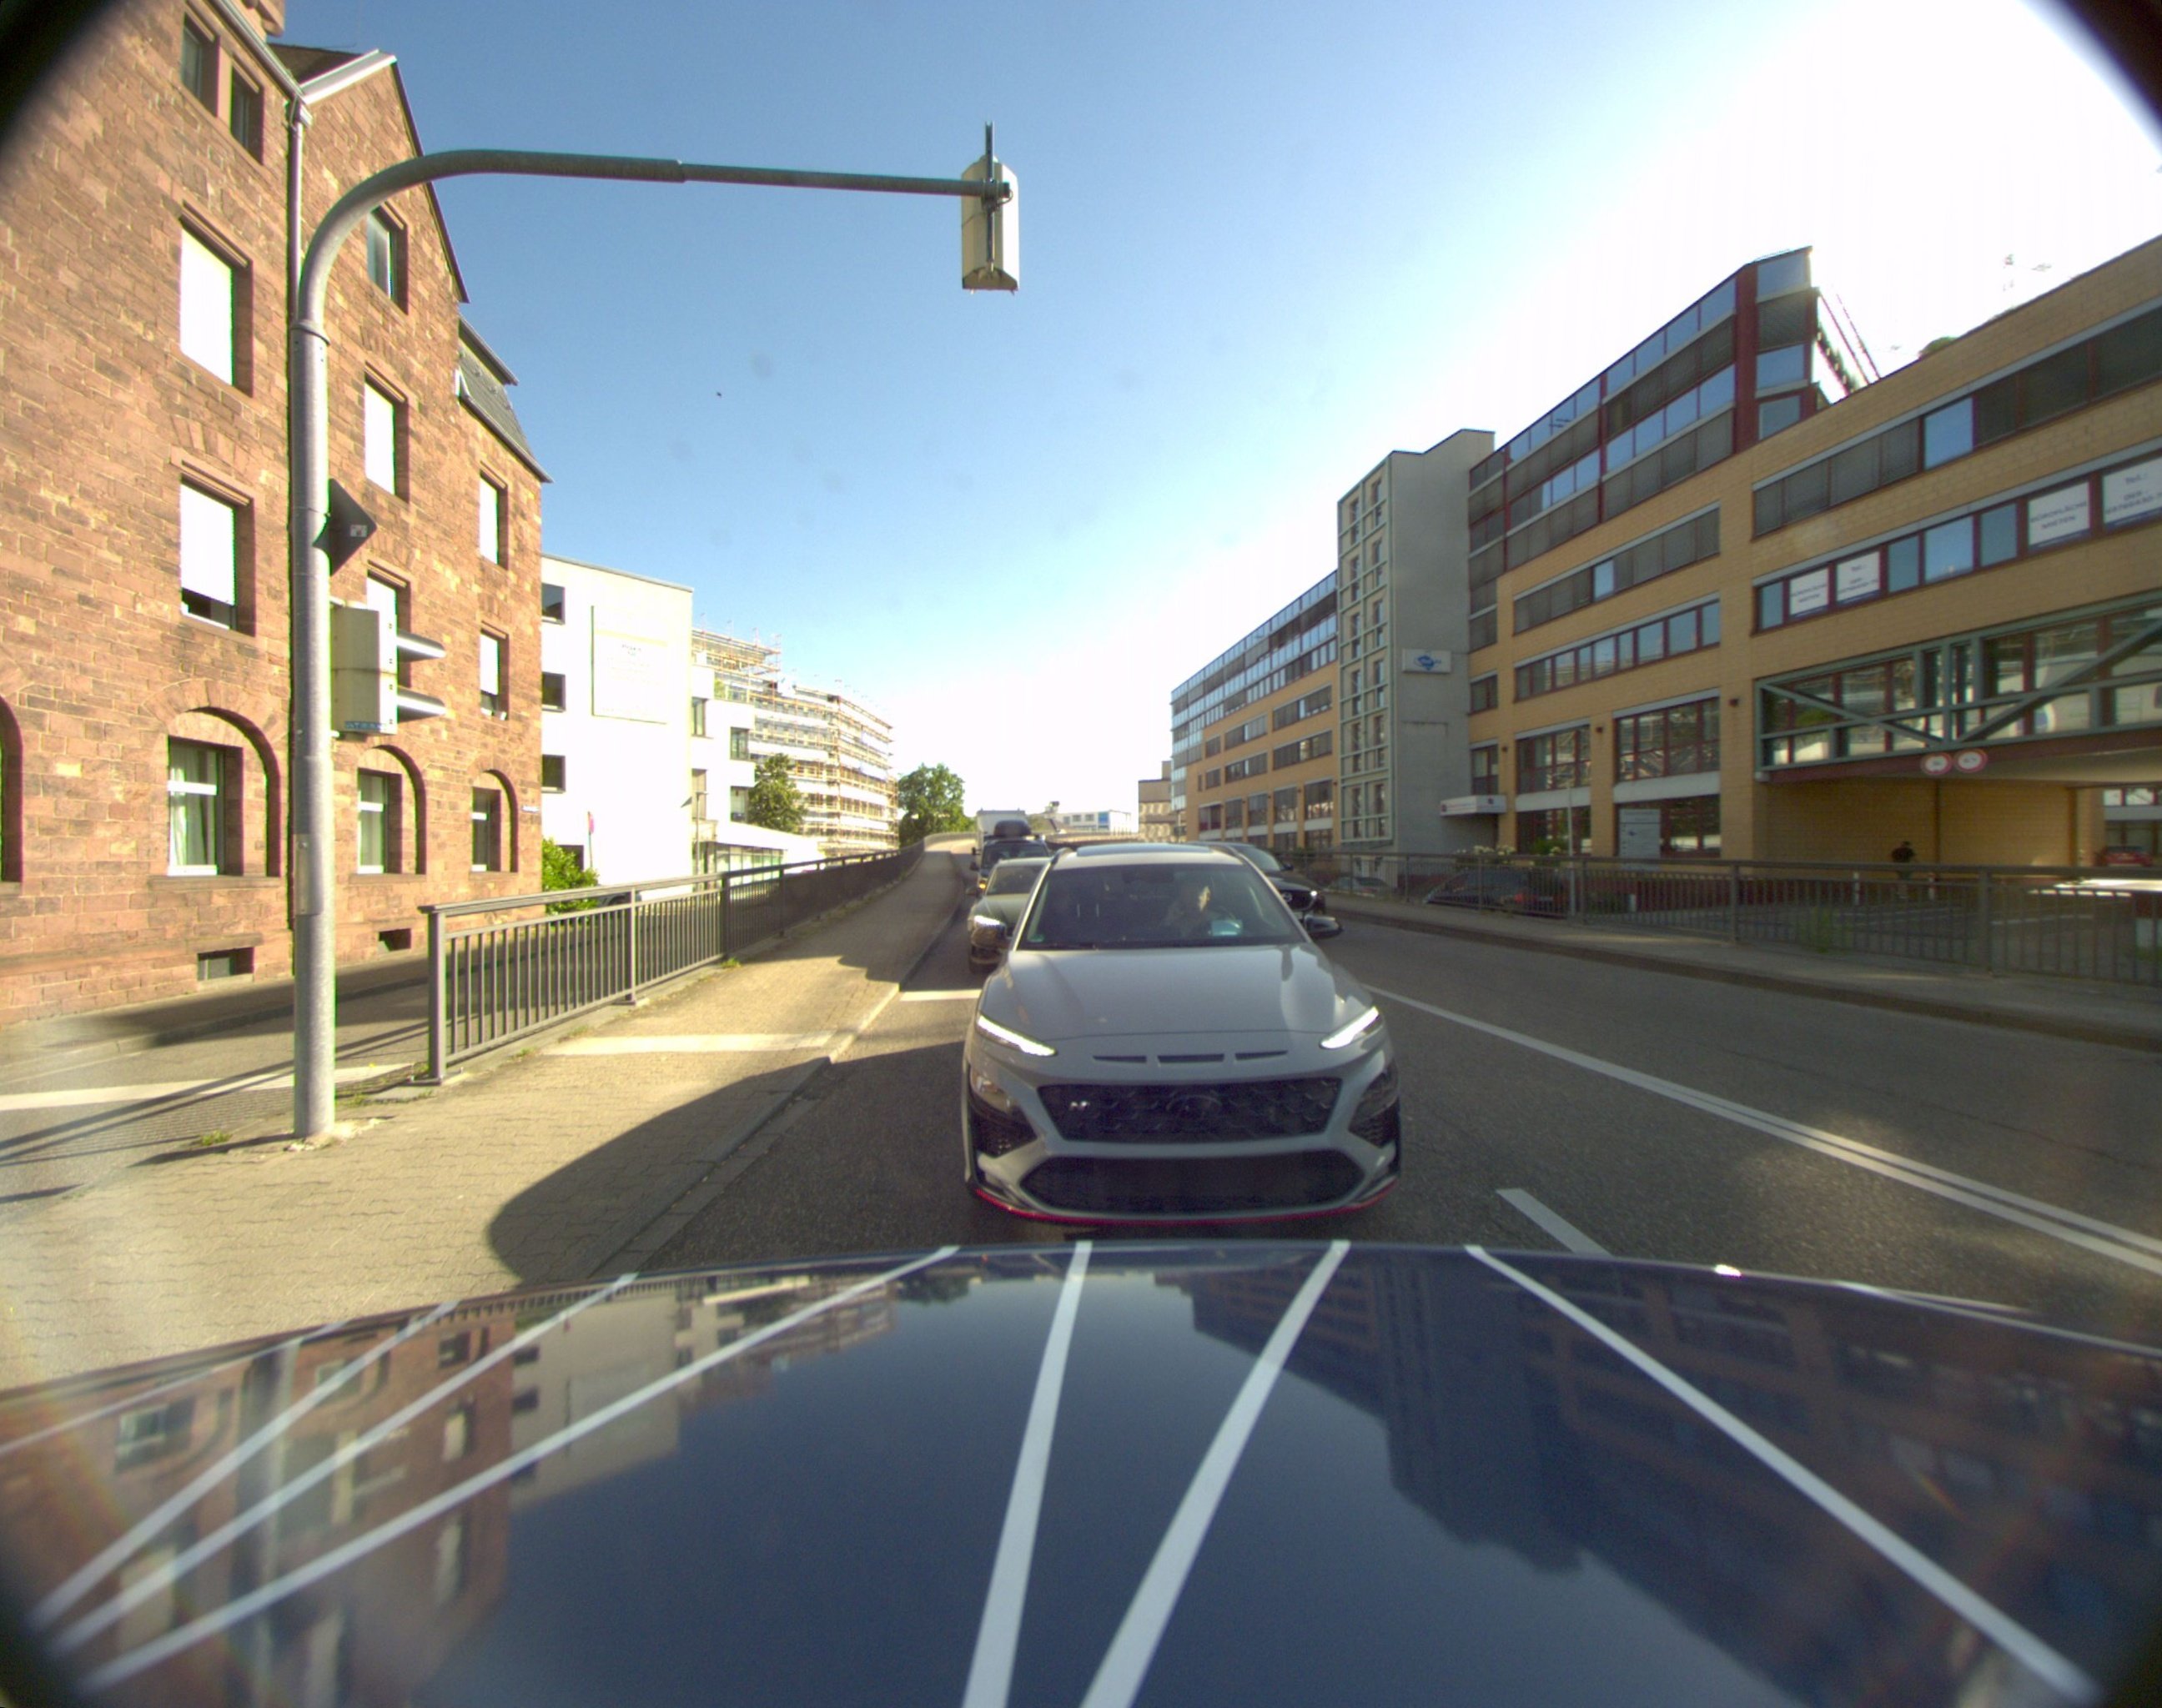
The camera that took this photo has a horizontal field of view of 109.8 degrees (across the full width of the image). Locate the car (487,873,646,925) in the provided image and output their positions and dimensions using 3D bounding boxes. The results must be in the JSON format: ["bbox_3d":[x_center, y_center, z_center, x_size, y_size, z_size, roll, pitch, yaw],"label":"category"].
[{"bbox_3d":[-17.068,1.438,25.323,4.101,1.522,1.914,0,-1,-44],"label":"car"}]

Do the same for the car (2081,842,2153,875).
[{"bbox_3d":[54.006,0.222,39.685,4.007,1.512,1.763,-3,1,-43],"label":"car"}]

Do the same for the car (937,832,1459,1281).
[{"bbox_3d":[0.492,0.744,4.854,1.878,1.612,4.197,0,0,2],"label":"car"}]

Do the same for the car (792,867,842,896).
[{"bbox_3d":[-14.588,1.488,42.230,2.054,1.522,4.089,-1,-1,-11],"label":"car"}]

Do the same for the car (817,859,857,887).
[{"bbox_3d":[-15.819,1.219,49.455,2.054,1.676,4.089,-1,-1,-11],"label":"car"}]

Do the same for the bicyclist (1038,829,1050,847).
[{"bbox_3d":[-3.936,-1.656,80.782,1.083,1.861,1.083,-2,1,-9],"label":"bicyclist"}]

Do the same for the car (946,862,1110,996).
[{"bbox_3d":[-0.779,0.882,11.107,1.879,1.462,4.633,0,0,-4],"label":"car"}]

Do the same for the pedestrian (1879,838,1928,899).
[{"bbox_3d":[25.818,0.447,23.853,0.747,1.840,0.705,-2,0,-5],"label":"pedestrian"}]

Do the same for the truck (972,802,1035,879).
[{"bbox_3d":[-3.554,-0.524,34.294,2.504,3.109,6.956,-1,-1,-7],"label":"truck"}]

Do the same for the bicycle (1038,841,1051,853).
[{"bbox_3d":[-3.877,-0.748,80.676,1.083,1.223,2.781,-2,1,-9],"label":"bicycle"}]

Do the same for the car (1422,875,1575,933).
[{"bbox_3d":[12.358,1.410,22.809,1.639,1.514,4.156,0,-1,-14],"label":"car"}]

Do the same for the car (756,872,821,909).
[{"bbox_3d":[-13.375,1.617,34.989,2.054,1.522,4.089,-1,-1,-11],"label":"car"}]

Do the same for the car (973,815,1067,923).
[{"bbox_3d":[-1.510,0.337,18.368,1.951,2.248,4.783,0,-1,-5],"label":"car"}]

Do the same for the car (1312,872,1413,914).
[{"bbox_3d":[11.153,1.515,30.463,1.881,1.514,4.157,0,-1,-11],"label":"car"}]

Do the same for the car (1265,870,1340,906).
[{"bbox_3d":[10.405,1.556,35.977,1.885,1.554,3.997,0,-1,-9],"label":"car"}]

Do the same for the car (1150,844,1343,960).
[{"bbox_3d":[2.690,0.686,13.475,1.880,1.699,4.192,0,1,-10],"label":"car"}]
